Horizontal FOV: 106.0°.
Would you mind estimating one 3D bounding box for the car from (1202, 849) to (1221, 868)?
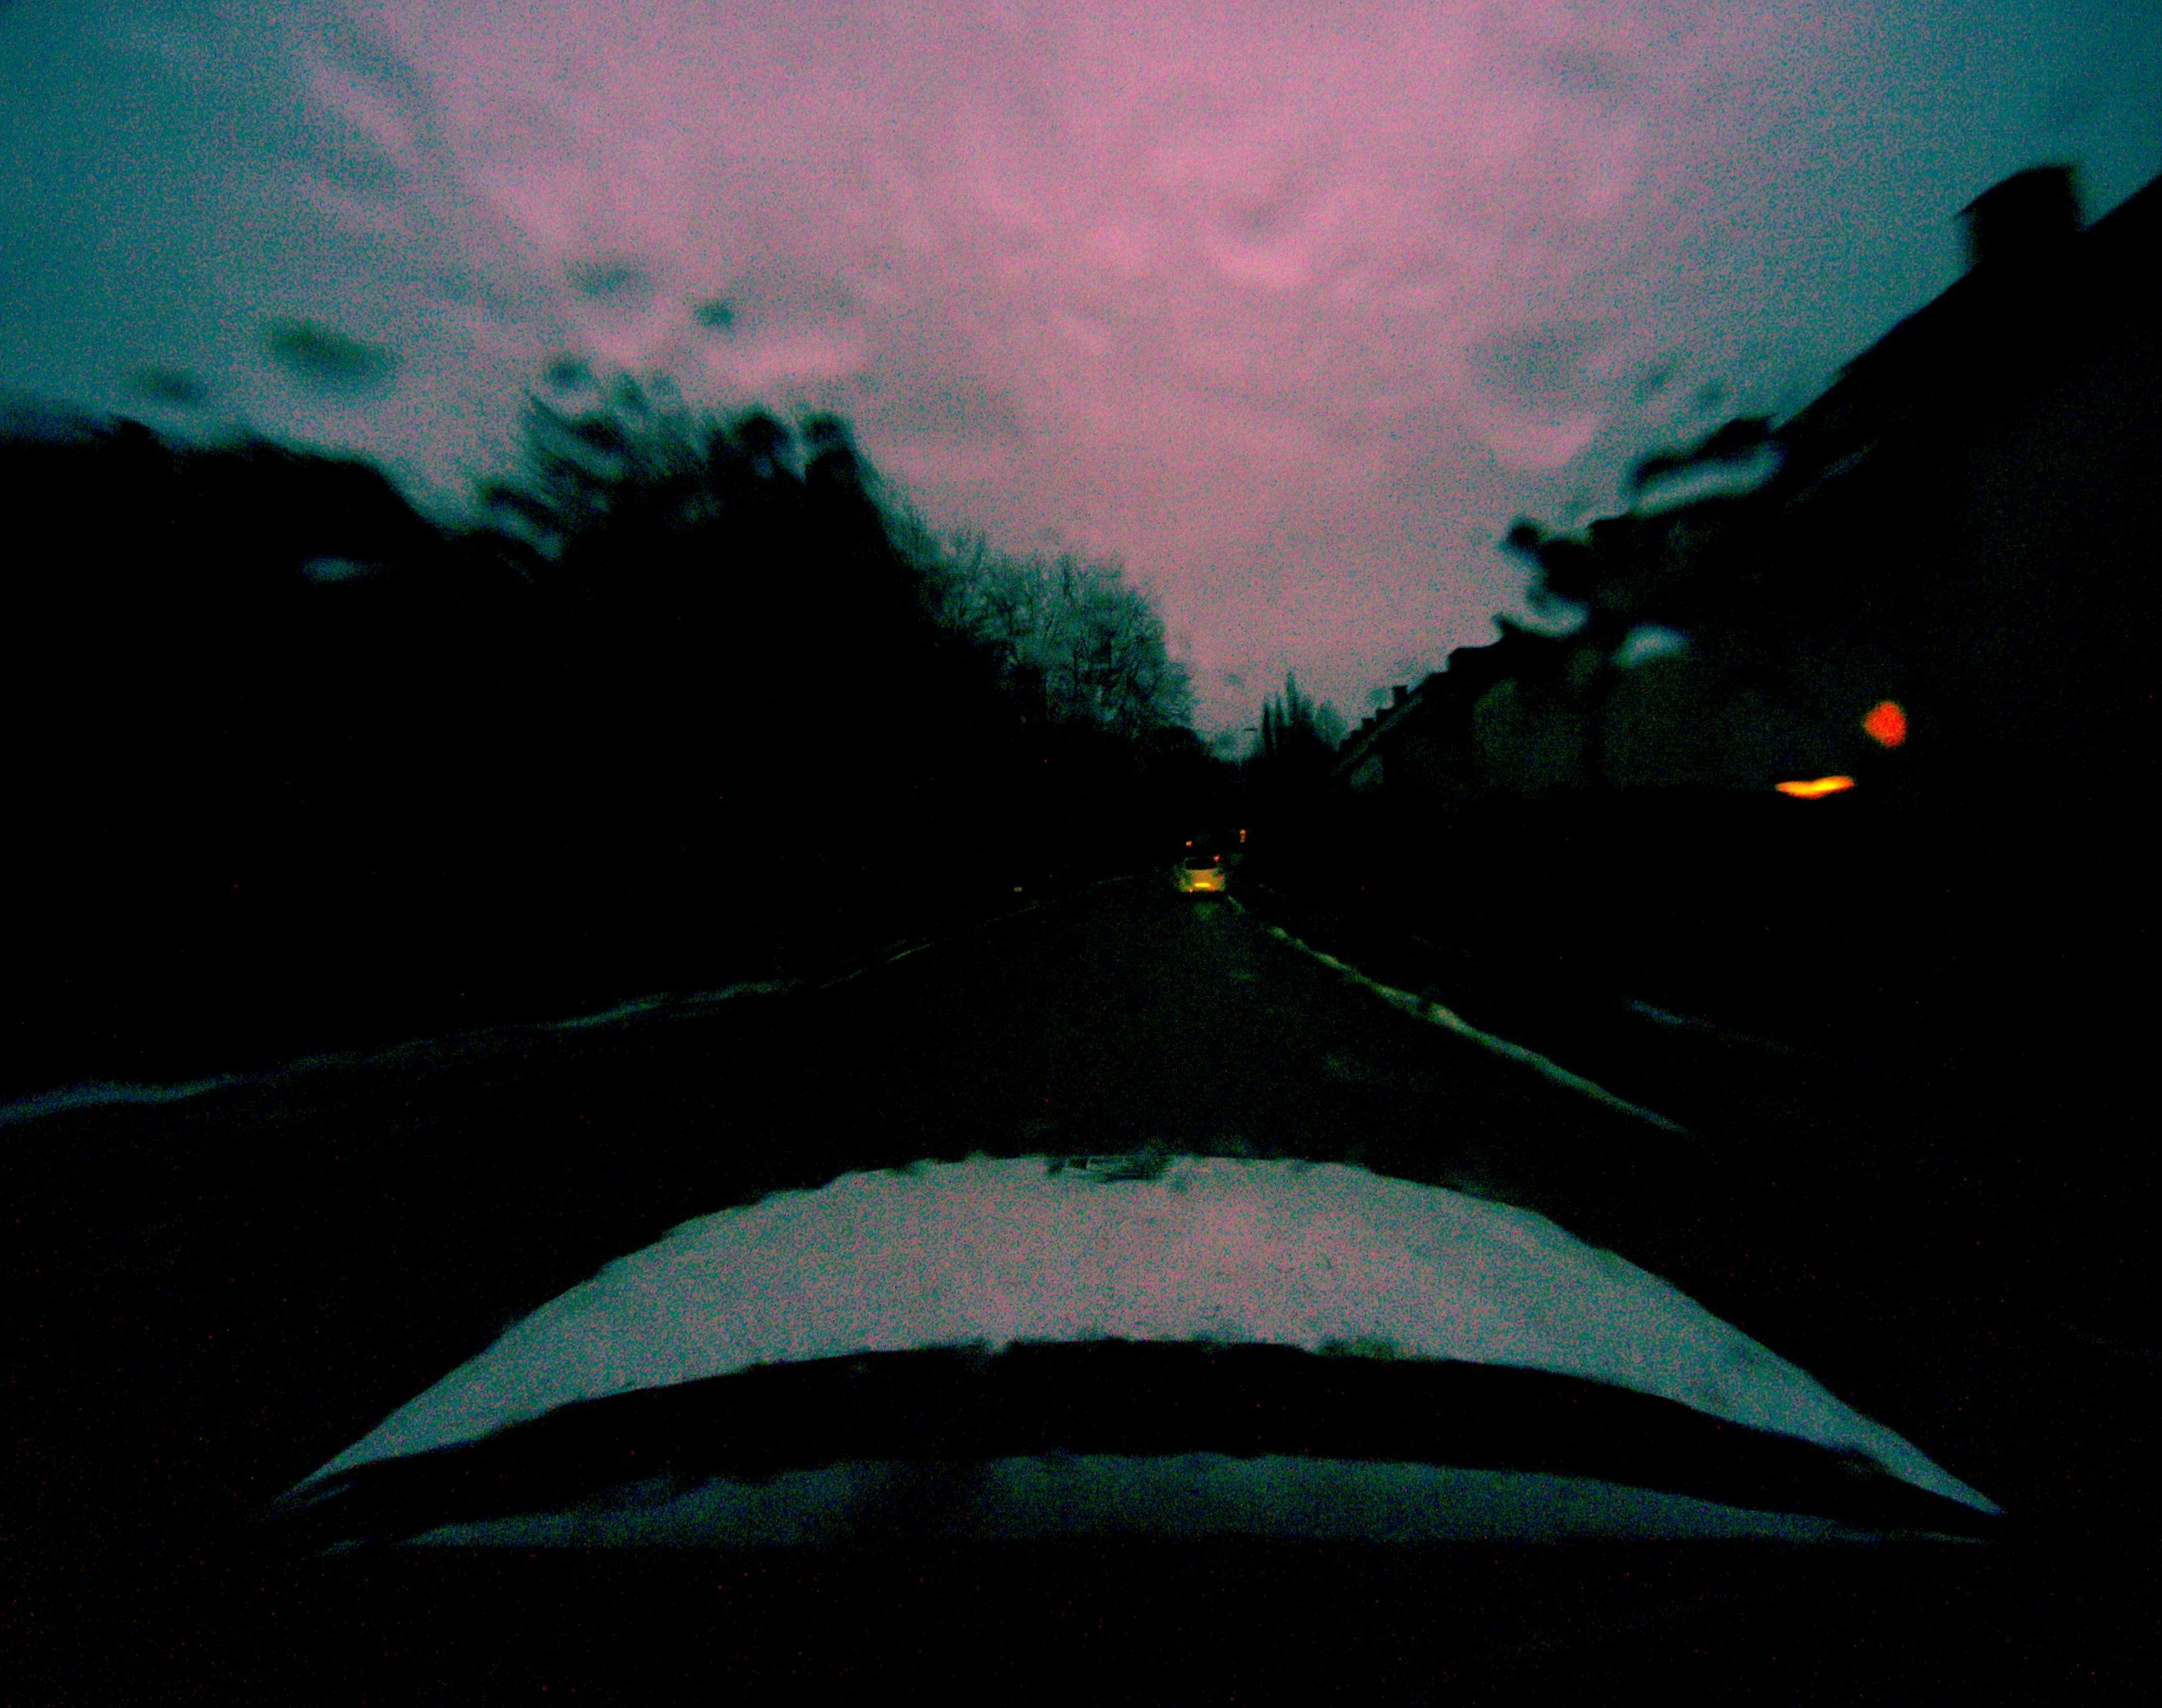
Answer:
[{"bbox_3d":[13.142,0.429,82.009,1.679,1.774,3.872,-2,0,10],"label":"car"}]

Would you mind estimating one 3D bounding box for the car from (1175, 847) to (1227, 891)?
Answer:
[{"bbox_3d":[4.350,0.535,29.929,1.695,1.506,4.031,-1,-1,6],"label":"car"}]
